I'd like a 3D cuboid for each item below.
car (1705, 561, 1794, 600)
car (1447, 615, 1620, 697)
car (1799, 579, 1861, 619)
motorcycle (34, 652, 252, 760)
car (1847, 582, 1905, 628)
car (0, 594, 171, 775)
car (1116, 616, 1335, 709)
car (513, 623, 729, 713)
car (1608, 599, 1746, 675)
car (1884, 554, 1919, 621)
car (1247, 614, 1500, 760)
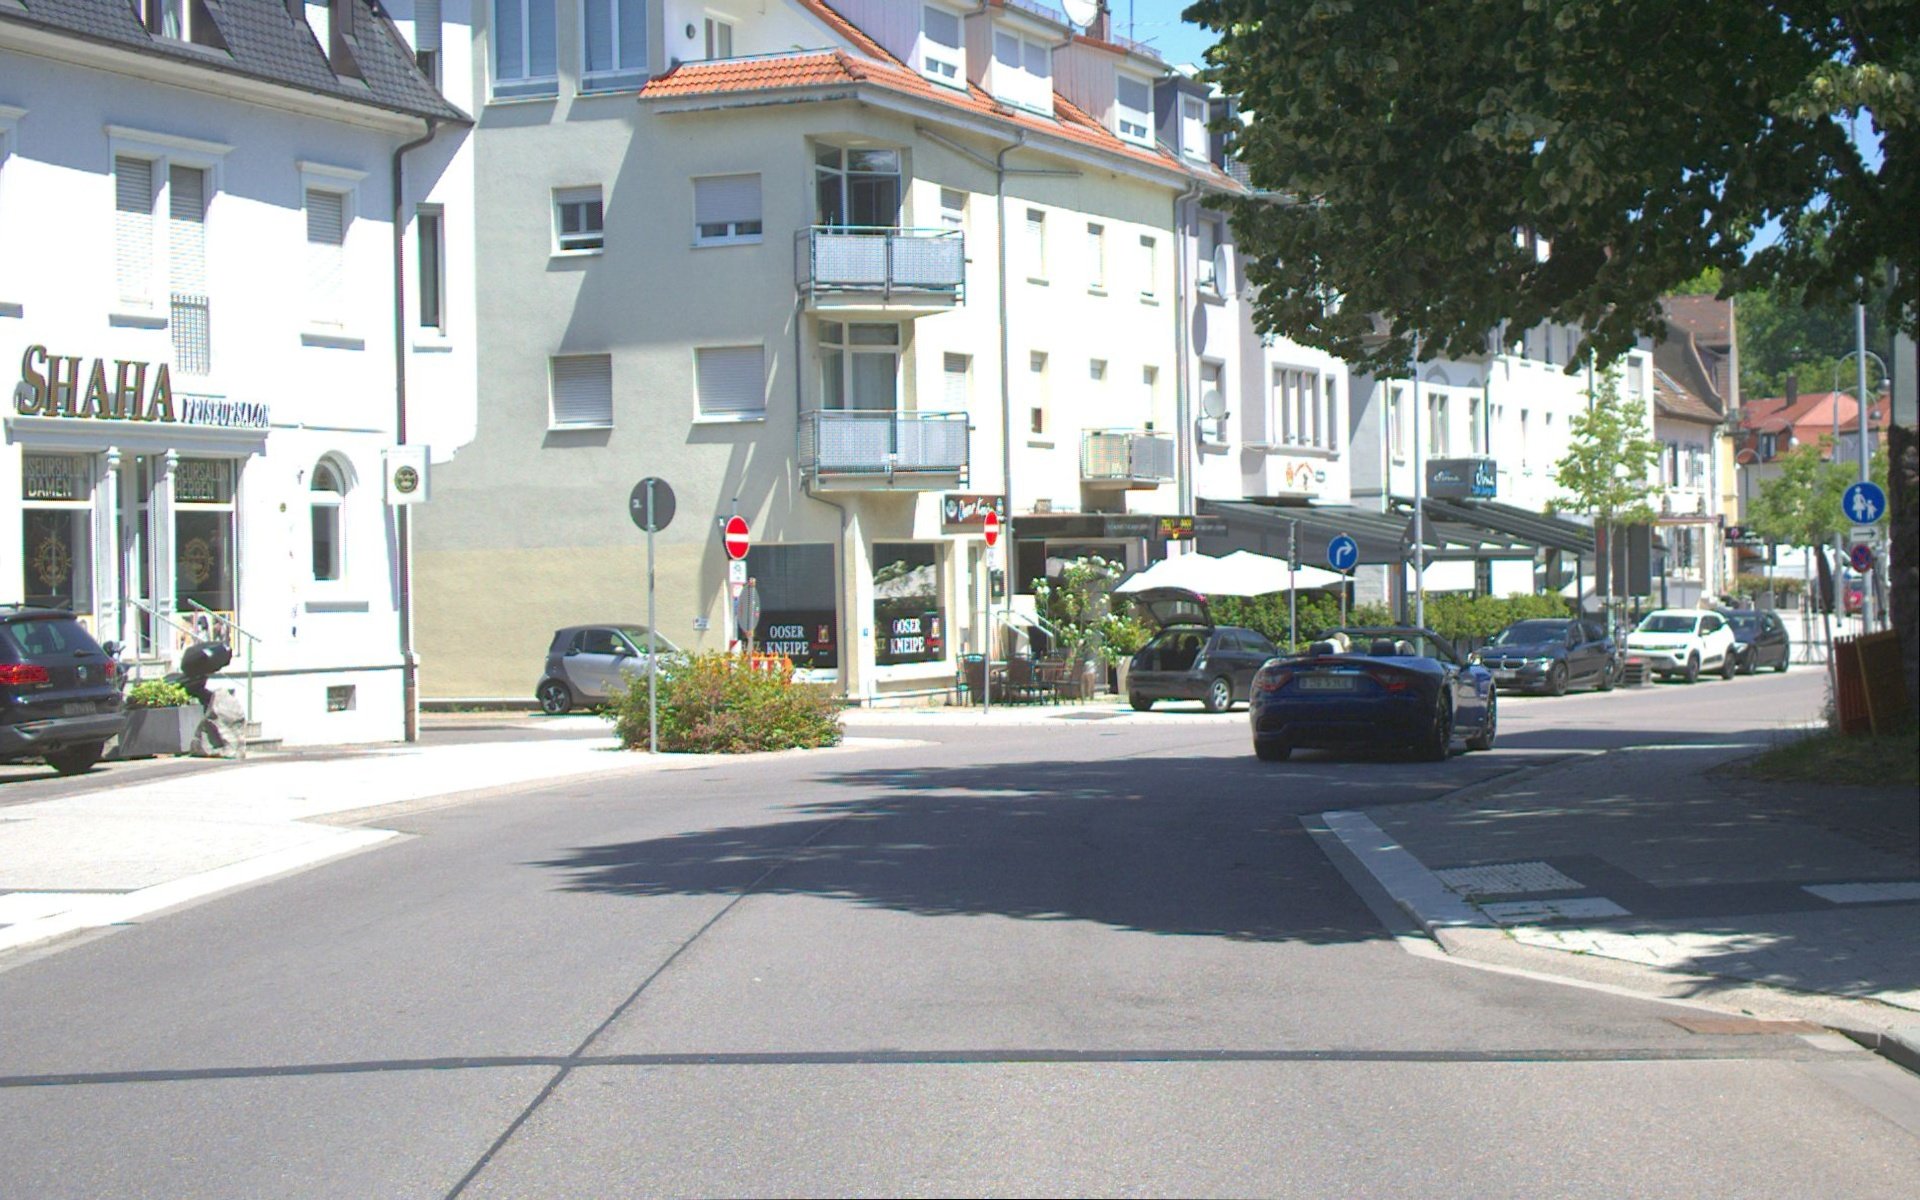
[{"bbox_3d":[42.703,-1.041,185.938,4.257,2.007,2.000,1,-2,-18],"label":"car"},{"bbox_3d":[11.128,1.048,66.437,1.837,1.425,4.775,1,1,29],"label":"car"},{"bbox_3d":[37.242,-0.053,147.232,1.994,1.686,3.999,0,0,6],"label":"car"},{"bbox_3d":[-9.324,1.205,39.219,2.398,1.213,0.832,-1,-1,24],"label":"motorcycle"},{"bbox_3d":[35.913,0.185,134.880,1.994,1.733,3.998,-1,0,13],"label":"car"},{"bbox_3d":[-9.970,0.806,33.216,4.185,1.656,1.969,-1,0,22],"label":"car"},{"bbox_3d":[4.489,1.032,57.654,1.716,1.455,4.121,2,0,36],"label":"car"},{"bbox_3d":[-5.824,1.161,59.115,3.266,1.453,1.690,-1,0,22],"label":"car"},{"bbox_3d":[15.241,0.762,72.964,1.648,1.474,3.934,1,1,31],"label":"car"},{"bbox_3d":[34.780,-0.468,125.694,1.868,2.392,4.815,-1,0,15],"label":"car"},{"bbox_3d":[4.307,0.838,35.201,1.872,1.337,4.592,0,0,16],"label":"car"}]
